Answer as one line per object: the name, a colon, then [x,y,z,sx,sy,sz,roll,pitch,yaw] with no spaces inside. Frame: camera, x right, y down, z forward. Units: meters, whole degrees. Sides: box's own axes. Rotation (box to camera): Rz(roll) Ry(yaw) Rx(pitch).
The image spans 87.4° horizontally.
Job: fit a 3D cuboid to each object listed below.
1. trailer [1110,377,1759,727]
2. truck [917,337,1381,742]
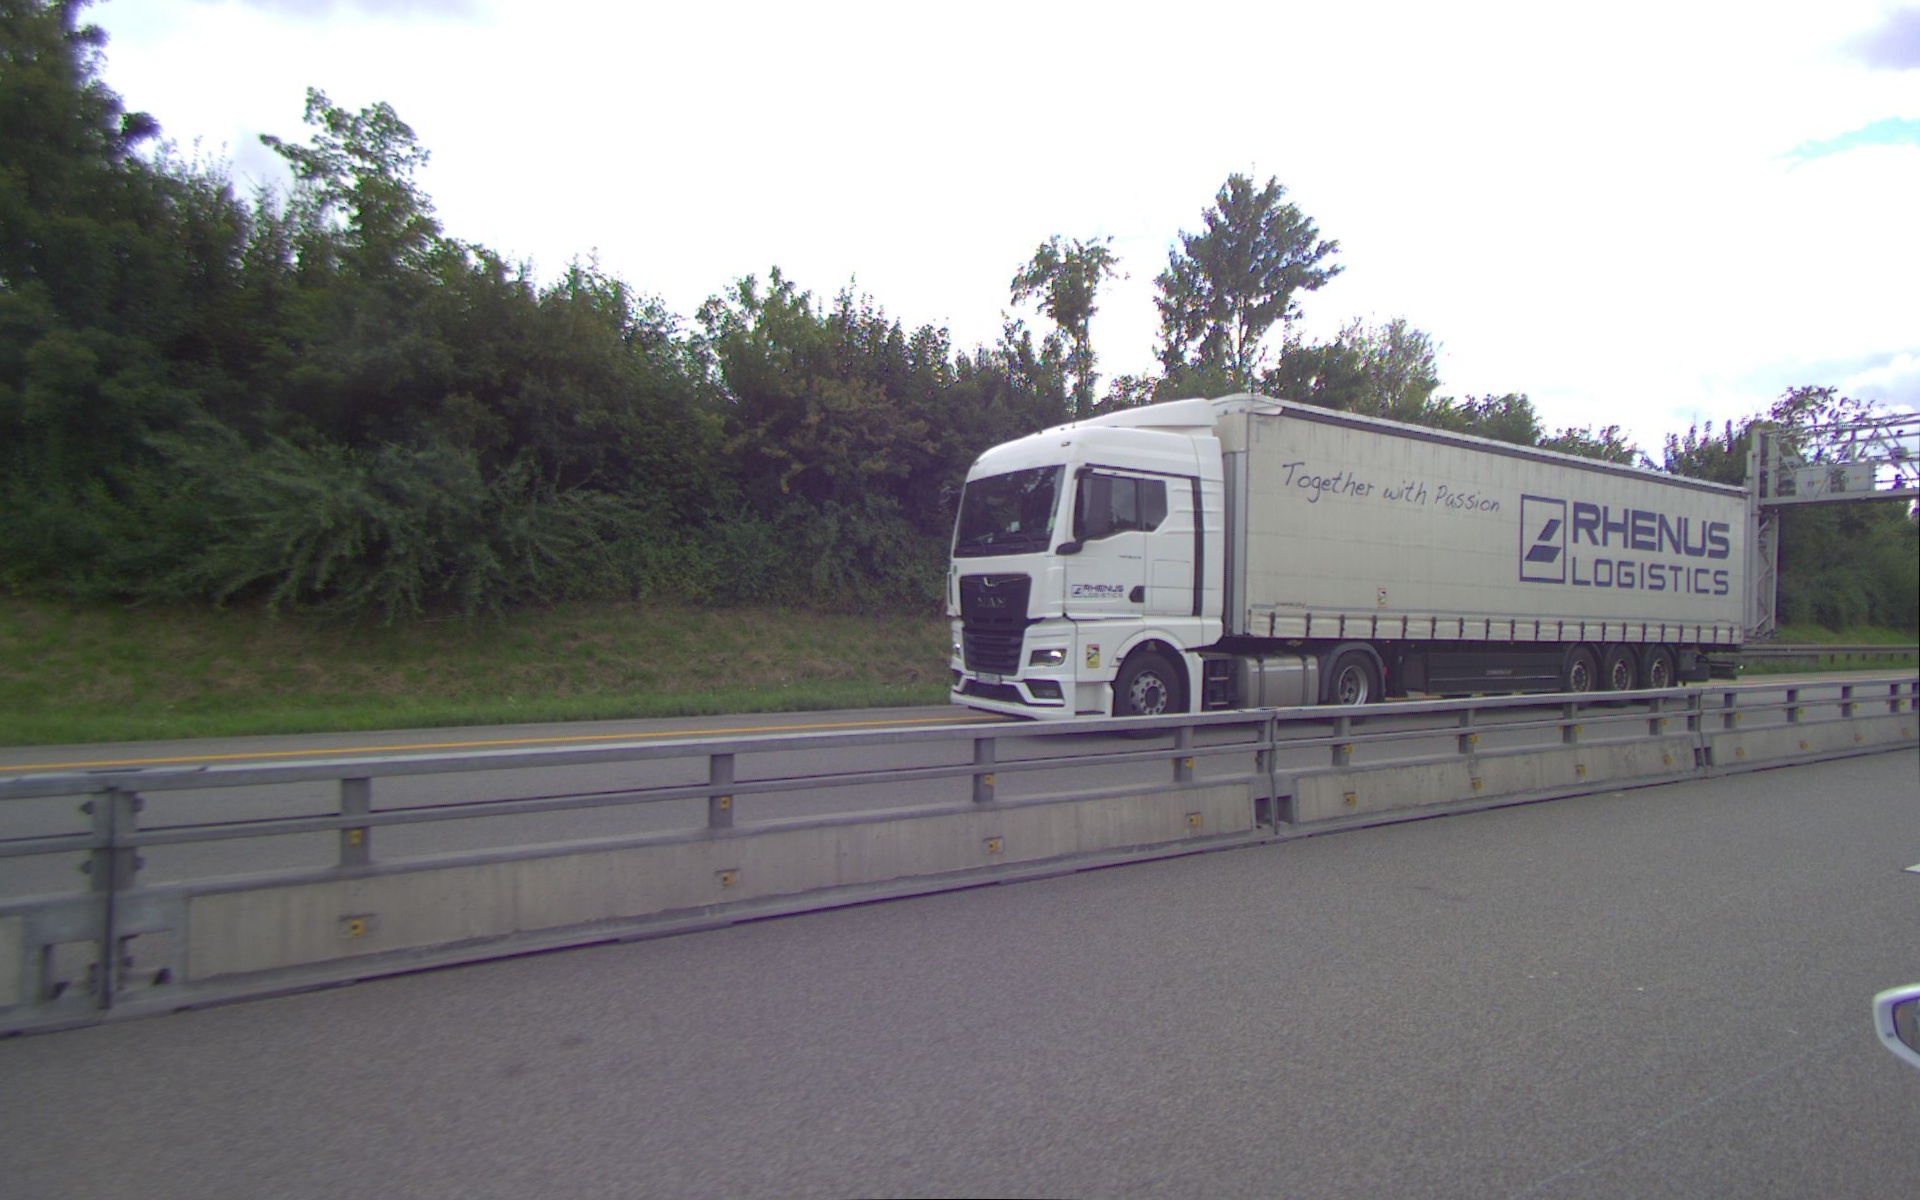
trailer: [8.734,-0.502,16.800,13.831,4.210,2.585,1,1,-31]
truck: [2.520,-0.610,13.009,5.555,4.210,2.585,1,1,-31]
